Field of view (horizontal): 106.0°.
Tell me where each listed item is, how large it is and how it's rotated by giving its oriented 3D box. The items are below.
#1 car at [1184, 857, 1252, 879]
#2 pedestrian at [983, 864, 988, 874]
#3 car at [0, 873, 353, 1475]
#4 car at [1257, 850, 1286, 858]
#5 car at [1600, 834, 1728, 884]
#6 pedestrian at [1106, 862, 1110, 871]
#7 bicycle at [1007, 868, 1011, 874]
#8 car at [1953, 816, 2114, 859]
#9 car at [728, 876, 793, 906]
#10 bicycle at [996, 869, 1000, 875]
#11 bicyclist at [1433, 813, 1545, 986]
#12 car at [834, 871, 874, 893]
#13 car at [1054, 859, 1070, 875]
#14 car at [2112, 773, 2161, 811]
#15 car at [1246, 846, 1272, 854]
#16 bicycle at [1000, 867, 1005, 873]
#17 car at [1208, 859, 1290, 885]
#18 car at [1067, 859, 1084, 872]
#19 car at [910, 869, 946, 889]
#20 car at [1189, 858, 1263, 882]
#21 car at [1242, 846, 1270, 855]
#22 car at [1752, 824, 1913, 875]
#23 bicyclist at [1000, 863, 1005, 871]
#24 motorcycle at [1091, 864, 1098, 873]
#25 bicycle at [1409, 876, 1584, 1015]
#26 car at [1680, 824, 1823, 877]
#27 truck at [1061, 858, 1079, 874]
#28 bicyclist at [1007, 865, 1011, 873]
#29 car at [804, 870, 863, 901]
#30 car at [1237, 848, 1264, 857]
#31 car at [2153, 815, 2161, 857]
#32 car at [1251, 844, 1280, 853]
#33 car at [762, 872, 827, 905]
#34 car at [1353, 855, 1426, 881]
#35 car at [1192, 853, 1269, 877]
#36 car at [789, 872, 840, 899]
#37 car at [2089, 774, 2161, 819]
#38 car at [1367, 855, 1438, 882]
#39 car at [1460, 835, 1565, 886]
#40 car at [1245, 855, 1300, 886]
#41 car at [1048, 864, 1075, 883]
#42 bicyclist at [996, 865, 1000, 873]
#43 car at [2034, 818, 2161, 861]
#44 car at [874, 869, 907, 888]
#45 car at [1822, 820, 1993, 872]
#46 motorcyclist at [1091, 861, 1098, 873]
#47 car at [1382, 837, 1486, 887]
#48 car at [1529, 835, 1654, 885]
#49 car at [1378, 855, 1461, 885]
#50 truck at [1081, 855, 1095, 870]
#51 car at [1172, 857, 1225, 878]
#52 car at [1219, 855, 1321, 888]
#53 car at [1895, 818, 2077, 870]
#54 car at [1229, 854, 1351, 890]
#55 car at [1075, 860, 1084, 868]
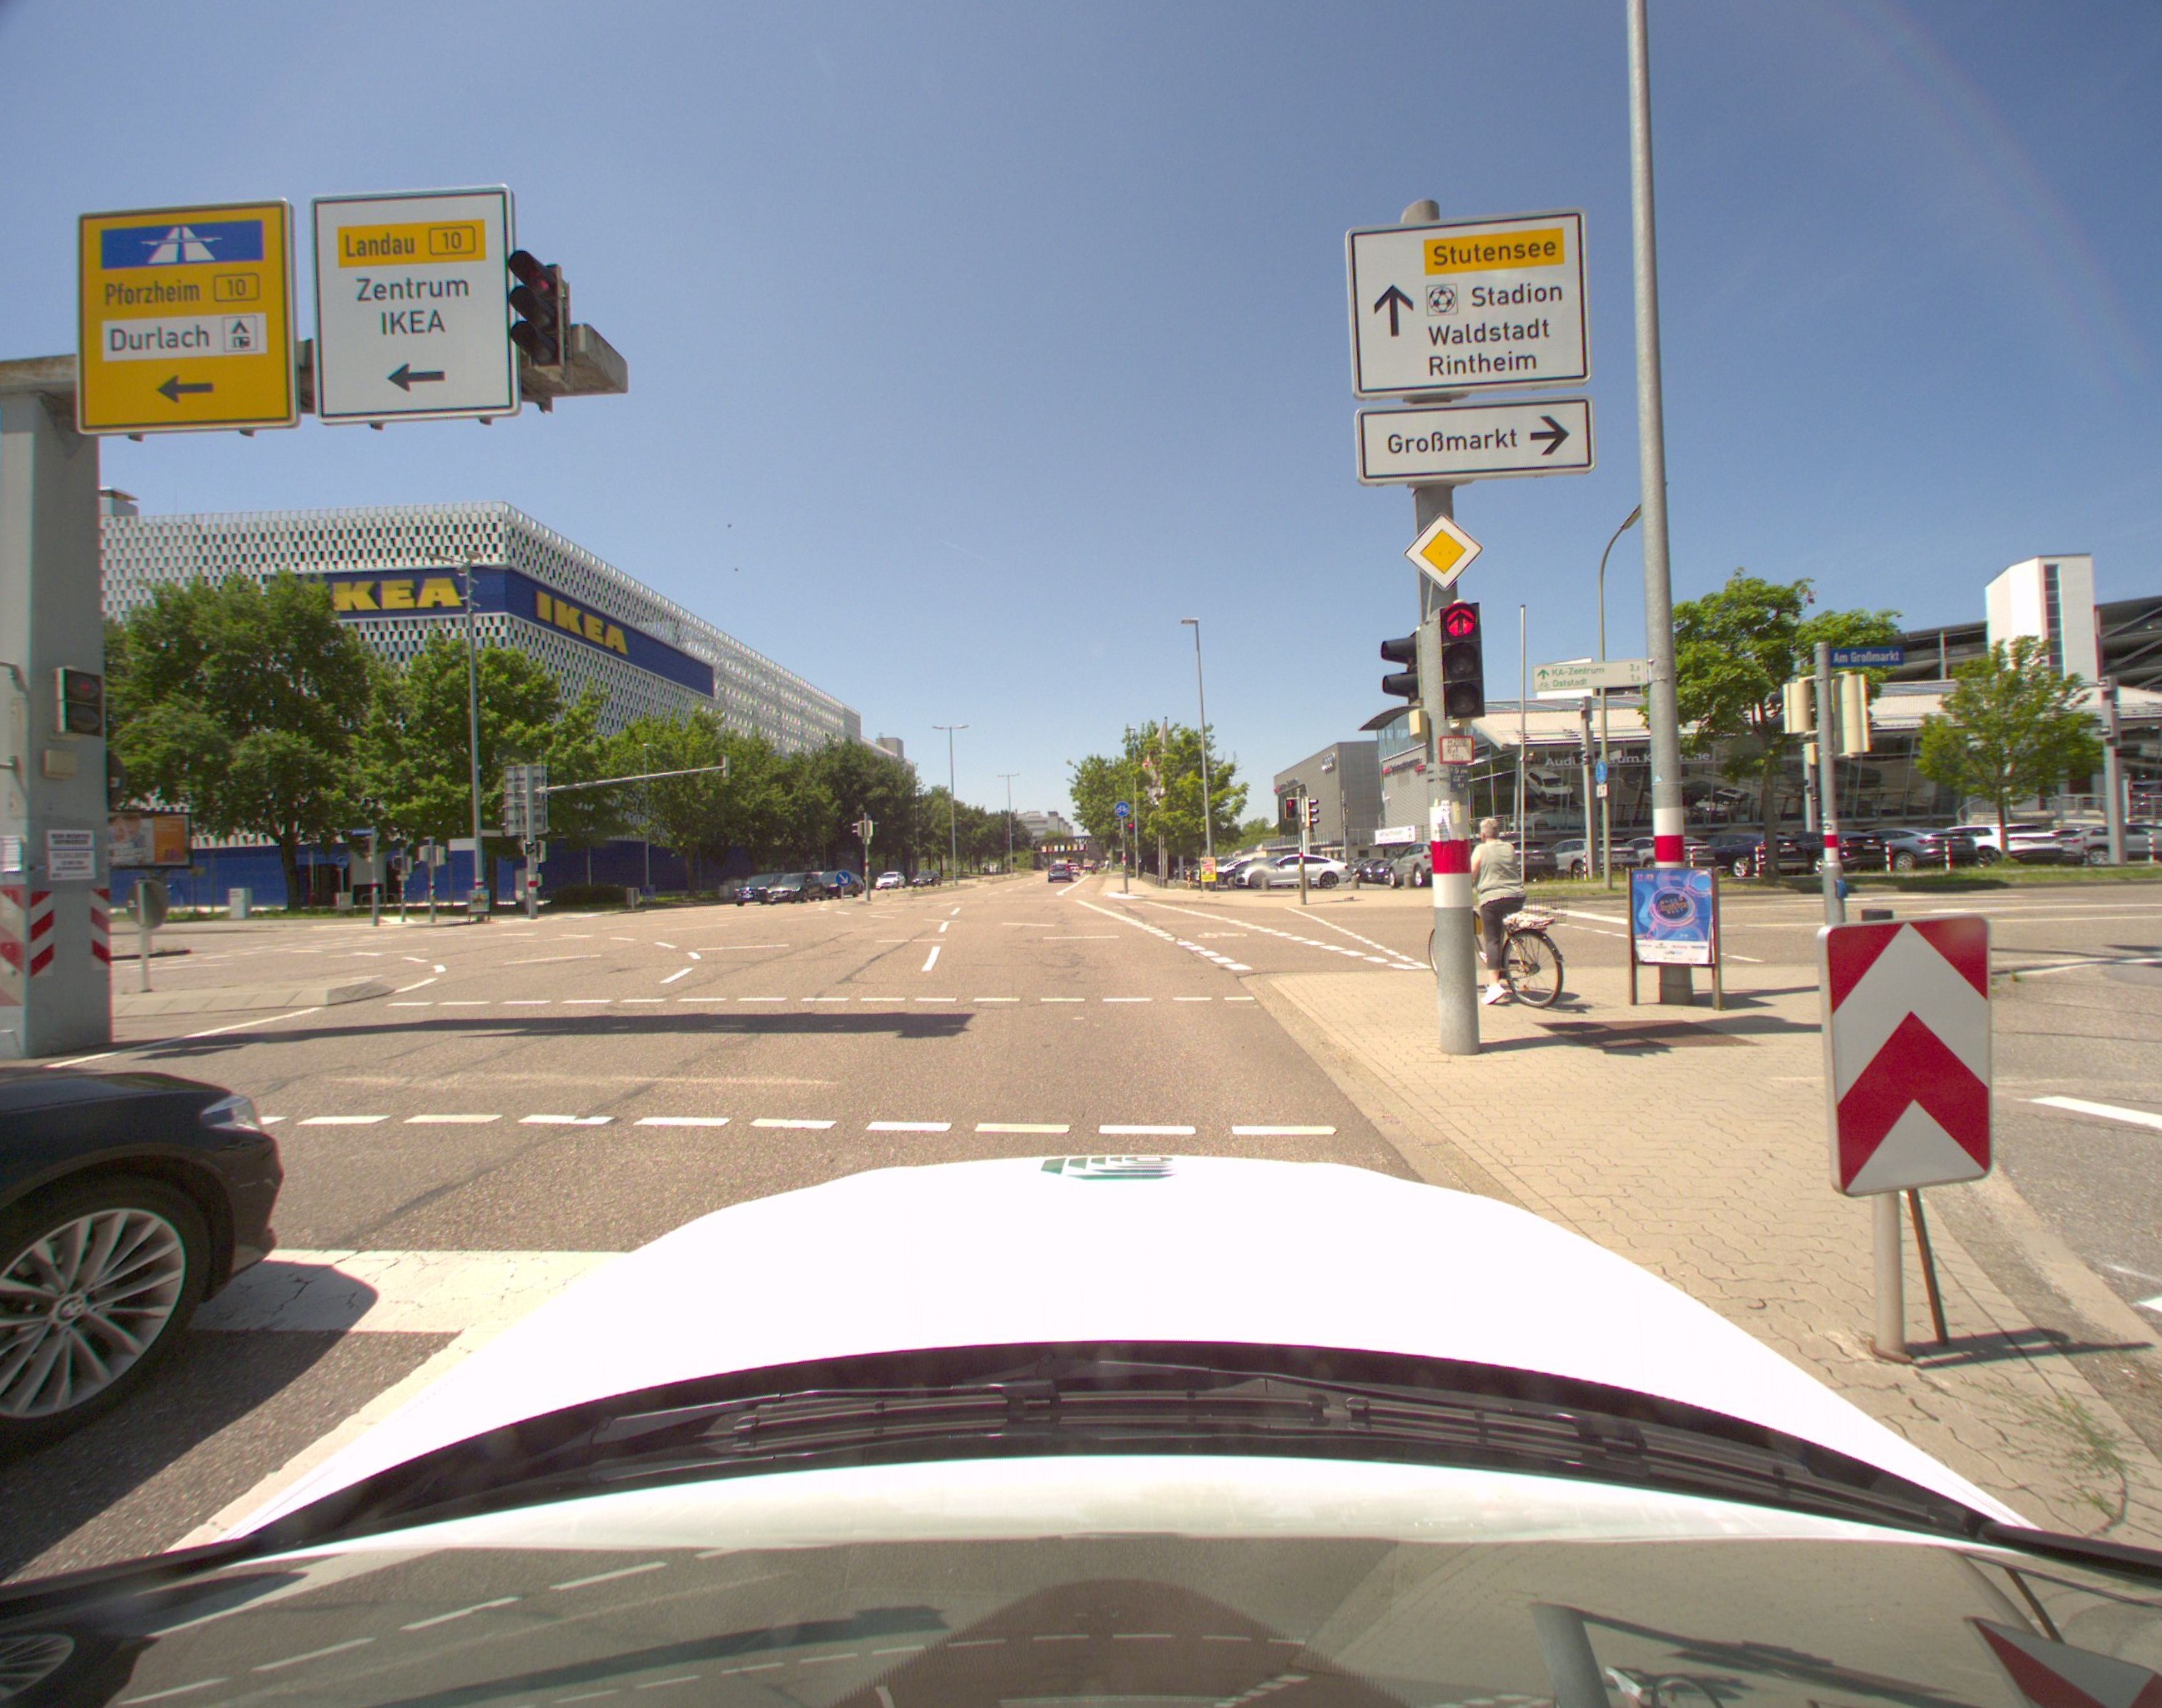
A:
[{"bbox_3d":[8.735,0.907,52.196,4.085,1.405,1.869,0,-1,1],"label":"car"},{"bbox_3d":[-18.753,2.906,159.483,0.741,1.884,0.578,-2,-1,2],"label":"pedestrian"},{"bbox_3d":[-3.547,0.796,0.634,1.791,1.440,4.557,-2,0,1],"label":"car"},{"bbox_3d":[27.079,-0.004,116.040,3.716,1.130,1.682,0,-1,-3],"label":"car"},{"bbox_3d":[20.196,0.142,28.415,1.632,1.616,3.815,-1,1,-2],"label":"car"},{"bbox_3d":[4.588,2.124,137.598,0.621,1.374,0.564,-2,-1,0],"label":"pedestrian"},{"bbox_3d":[-15.557,3.641,176.024,0.627,1.159,2.118,-4,-1,1],"label":"bicycle"},{"bbox_3d":[39.897,-0.678,34.266,3.947,1.571,1.862,-3,-1,31],"label":"car"},{"bbox_3d":[-16.827,1.906,42.963,1.654,1.424,4.039,-3,-1,2],"label":"car"},{"bbox_3d":[-16.255,3.425,159.151,0.635,1.134,1.970,-2,-1,0],"label":"bicycle"},{"bbox_3d":[3.983,0.425,8.005,0.627,1.606,0.824,0,-1,-5],"label":"bicyclist"},{"bbox_3d":[-16.491,2.008,59.428,1.643,1.486,3.916,-3,-1,2],"label":"car"},{"bbox_3d":[-2.494,1.684,108.452,1.986,2.014,4.000,-1,-1,1],"label":"car"},{"bbox_3d":[53.603,-3.114,39.468,1.905,1.722,4.142,-2,0,-5],"label":"car"},{"bbox_3d":[27.191,-0.576,124.419,3.515,1.239,1.675,0,-1,-3],"label":"car"},{"bbox_3d":[-15.677,3.237,163.206,0.736,1.125,2.435,-2,-1,1],"label":"bicycle"},{"bbox_3d":[8.955,0.952,43.612,4.081,1.364,1.875,0,-1,1],"label":"car"},{"bbox_3d":[-0.553,1.288,92.242,1.737,1.396,3.530,-2,0,2],"label":"car"},{"bbox_3d":[-12.872,2.093,68.882,1.718,1.446,4.725,-4,-1,4],"label":"car"},{"bbox_3d":[8.741,0.959,49.313,4.210,1.390,1.869,0,-1,1],"label":"car"},{"bbox_3d":[27.711,-0.575,128.904,3.977,1.312,1.795,0,-1,-3],"label":"car"},{"bbox_3d":[25.834,-0.114,28.207,1.840,1.654,3.994,0,-1,-2],"label":"car"},{"bbox_3d":[-15.704,2.568,163.068,0.742,1.686,0.952,-2,-1,0],"label":"bicyclist"},{"bbox_3d":[1.773,1.925,106.048,0.716,1.105,1.825,-1,-1,-8],"label":"motorcycle"},{"bbox_3d":[3.988,0.816,8.009,0.627,1.133,1.891,-1,0,-5],"label":"bicycle"},{"bbox_3d":[23.123,-0.092,28.295,1.624,1.654,3.907,-1,-1,-2],"label":"car"},{"bbox_3d":[-1.696,1.861,125.436,2.449,2.410,7.136,0,-1,2],"label":"truck"},{"bbox_3d":[-15.588,3.164,176.012,0.631,1.629,1.045,-4,-1,1],"label":"bicyclist"},{"bbox_3d":[-13.766,1.726,45.496,1.720,1.505,4.245,-4,-1,2],"label":"car"},{"bbox_3d":[27.975,-0.253,134.682,3.978,1.312,1.795,-2,-1,-3],"label":"car"},{"bbox_3d":[39.530,-0.724,26.919,4.558,1.471,1.861,-3,-1,26],"label":"car"},{"bbox_3d":[27.199,-0.871,120.248,3.930,1.211,1.715,-1,-1,-3],"label":"car"},{"bbox_3d":[-13.748,1.643,39.284,1.637,1.389,3.717,-4,-1,2],"label":"car"},{"bbox_3d":[19.276,0.860,50.928,3.967,1.573,1.634,0,-1,1],"label":"car"},{"bbox_3d":[8.485,0.625,46.368,4.084,1.349,1.869,0,-1,1],"label":"car"},{"bbox_3d":[-16.673,1.939,51.176,1.720,1.544,3.916,-3,-1,2],"label":"car"},{"bbox_3d":[45.704,-2.476,34.014,4.552,1.707,1.916,-2,-1,4],"label":"car"},{"bbox_3d":[19.197,0.867,48.778,3.634,1.580,1.643,0,-1,1],"label":"car"},{"bbox_3d":[15.048,0.248,28.633,1.836,1.654,4.003,0,-1,5],"label":"car"},{"bbox_3d":[9.237,0.792,39.605,1.855,1.420,4.667,0,-1,4],"label":"car"},{"bbox_3d":[-1.480,1.486,63.412,1.894,1.376,4.232,-2,-1,1],"label":"car"},{"bbox_3d":[-16.278,2.864,159.148,0.635,1.582,0.884,-2,-1,0],"label":"bicyclist"},{"bbox_3d":[39.660,-0.558,30.644,4.531,1.471,1.925,-3,-1,26],"label":"car"},{"bbox_3d":[-16.218,2.060,69.571,1.737,1.486,4.001,-3,-1,2],"label":"car"},{"bbox_3d":[28.510,-0.227,28.299,1.840,1.654,3.994,0,-1,-2],"label":"car"},{"bbox_3d":[1.757,1.713,106.143,0.719,1.529,0.868,0,-1,-8],"label":"motorcyclist"},{"bbox_3d":[12.394,0.333,28.927,1.860,1.558,4.506,-3,-2,3],"label":"car"},{"bbox_3d":[17.884,0.219,28.770,1.840,1.654,3.994,0,-1,-2],"label":"car"},{"bbox_3d":[18.901,0.882,45.617,3.970,1.622,1.657,0,-1,1],"label":"car"},{"bbox_3d":[1.432,1.680,165.025,2.605,2.850,5.616,0,-1,2],"label":"truck"},{"bbox_3d":[8.672,0.993,60.238,3.668,1.453,1.834,0,-1,1],"label":"car"},{"bbox_3d":[8.192,0.747,35.574,4.081,1.390,1.869,0,-1,1],"label":"car"},{"bbox_3d":[31.196,-0.293,28.266,1.840,1.654,3.994,0,-1,-2],"label":"car"},{"bbox_3d":[8.455,0.714,33.190,4.572,1.390,1.871,0,-1,3],"label":"car"},{"bbox_3d":[-0.454,2.582,211.410,1.984,2.013,4.005,-3,-1,5],"label":"car"}]
